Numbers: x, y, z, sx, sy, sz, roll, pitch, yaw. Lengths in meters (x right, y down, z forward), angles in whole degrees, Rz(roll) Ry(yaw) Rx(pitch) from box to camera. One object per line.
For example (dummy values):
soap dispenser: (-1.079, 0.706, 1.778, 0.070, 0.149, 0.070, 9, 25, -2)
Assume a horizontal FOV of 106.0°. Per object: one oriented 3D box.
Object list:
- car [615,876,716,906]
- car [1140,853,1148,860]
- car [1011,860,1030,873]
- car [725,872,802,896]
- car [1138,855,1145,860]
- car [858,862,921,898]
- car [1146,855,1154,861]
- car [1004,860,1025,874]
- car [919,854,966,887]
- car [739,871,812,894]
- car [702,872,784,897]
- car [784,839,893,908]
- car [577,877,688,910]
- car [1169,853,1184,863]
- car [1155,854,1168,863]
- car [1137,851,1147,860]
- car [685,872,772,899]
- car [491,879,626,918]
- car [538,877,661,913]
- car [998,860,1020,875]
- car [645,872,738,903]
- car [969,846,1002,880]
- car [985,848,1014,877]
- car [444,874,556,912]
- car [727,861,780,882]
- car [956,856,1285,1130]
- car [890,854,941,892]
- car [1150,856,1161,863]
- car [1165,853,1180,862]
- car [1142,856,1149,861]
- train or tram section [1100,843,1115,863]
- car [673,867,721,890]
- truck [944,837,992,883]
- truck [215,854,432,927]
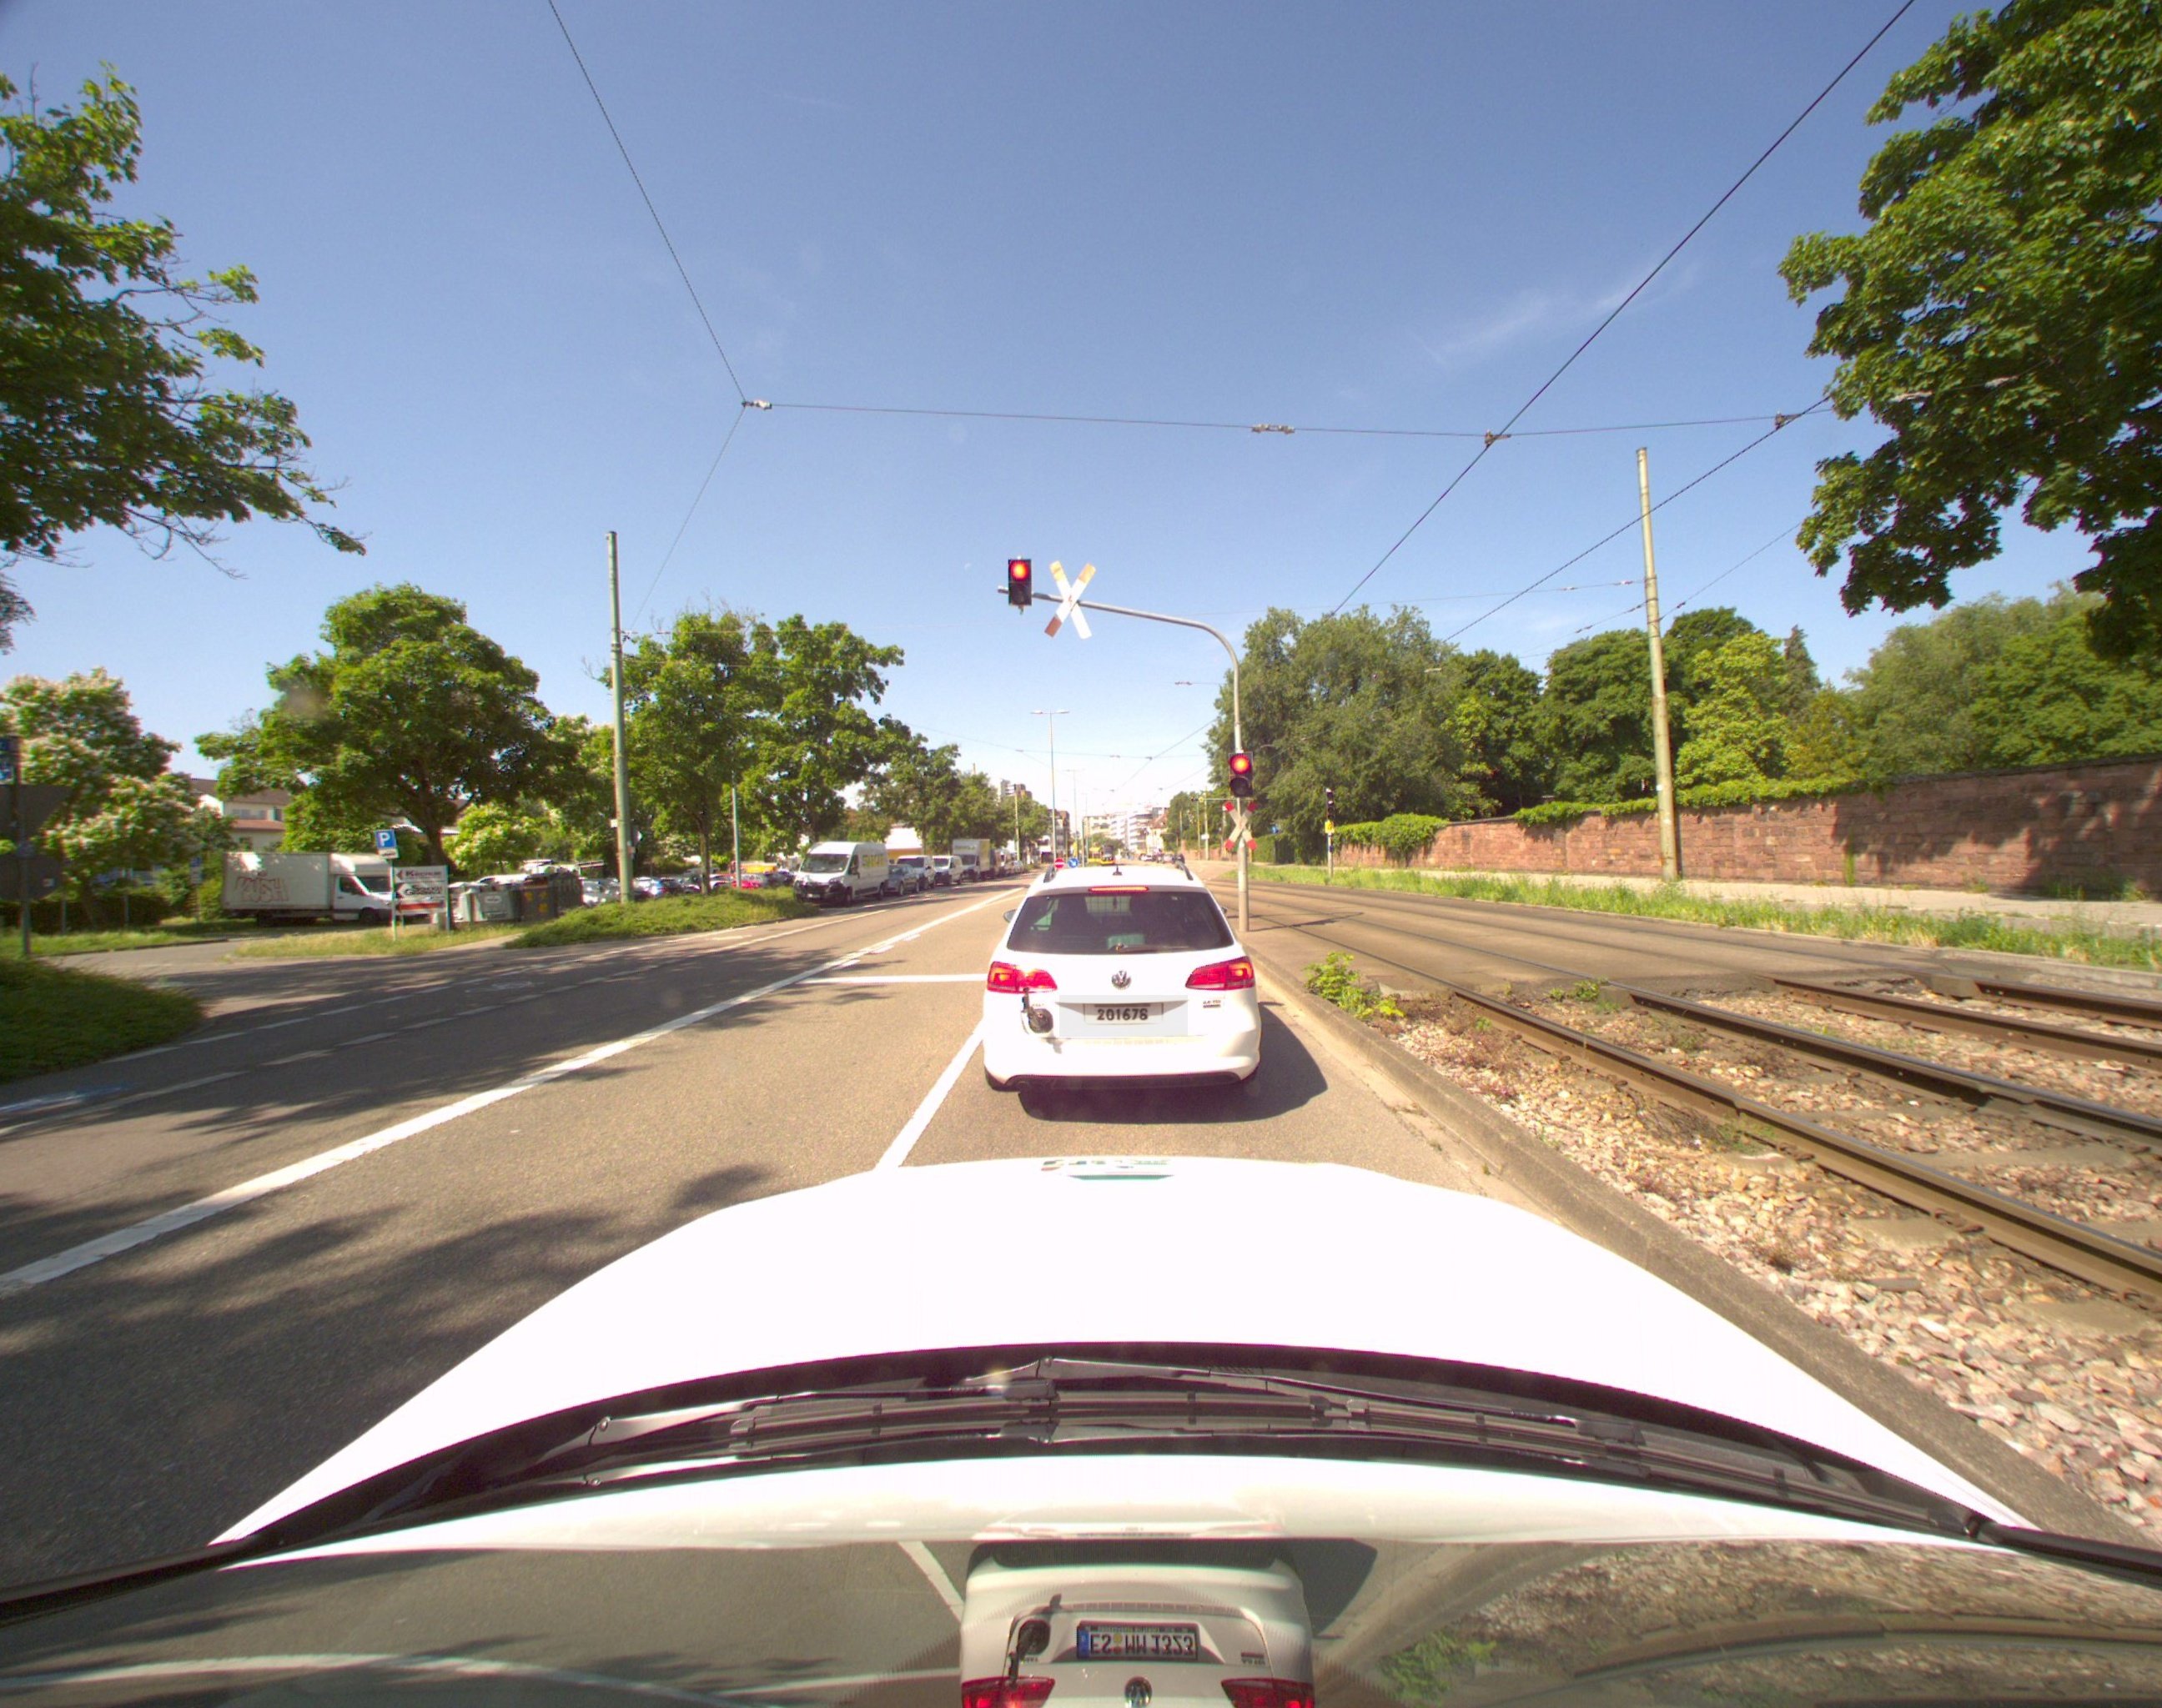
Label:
car: (-20.291, 1.798, 39.835, 3.969, 1.225, 1.773, -3, 0, 4)
car: (16.468, 0.741, 213.123, 1.685, 1.812, 3.455, 0, -1, 1)
car: (-7.143, 1.475, 96.942, 1.774, 1.433, 4.039, -3, 0, 2)
car: (-19.525, 1.818, 50.113, 3.969, 1.225, 1.773, -3, 0, 4)
car: (18.682, 1.159, 251.164, 1.986, 1.596, 4.002, 0, -1, 2)
car: (-9.082, 1.194, 39.034, 1.837, 1.516, 4.199, -3, 0, 2)
car: (15.291, 0.903, 181.169, 1.576, 1.346, 3.455, 0, -1, 1)
car: (-7.451, 1.446, 90.993, 1.837, 1.433, 4.039, -3, 0, 2)
car: (-8.843, 1.013, 52.310, 1.836, 1.960, 5.137, -3, 0, 2)
car: (-19.651, 1.843, 52.441, 3.969, 1.225, 1.773, -3, 0, 4)
car: (-19.659, 1.780, 47.518, 3.969, 1.225, 1.773, -3, 0, 4)
car: (-9.569, 0.696, 32.850, 2.049, 2.501, 6.315, 0, 0, 4)
car: (-20.109, 1.747, 36.602, 3.969, 1.225, 1.773, -3, 0, 4)
car: (13.232, 0.540, 112.884, 1.739, 1.388, 3.914, -1, 0, 2)
car: (13.976, 0.728, 141.717, 1.855, 1.513, 3.913, 0, 0, 0)
car: (17.436, 0.519, 234.025, 2.454, 2.499, 5.912, 0, -1, 1)
car: (-19.424, 1.726, 44.916, 3.969, 1.264, 1.773, -3, 0, 4)
car: (-20.010, 1.694, 31.297, 3.974, 1.225, 1.771, -3, 0, 0)
car: (-19.914, 1.696, 33.778, 3.974, 1.225, 1.771, -3, 0, 0)
car: (-7.538, 1.419, 85.800, 1.837, 1.433, 4.039, -3, 0, 2)
car: (-20.301, 1.725, 42.518, 3.969, 1.350, 1.773, -3, 0, 4)
car: (-7.967, 0.749, 68.506, 1.836, 2.668, 5.006, -3, 0, 2)
car: (-7.562, 0.761, 76.154, 1.836, 2.494, 5.860, -3, 0, 2)
car: (-32.188, 2.129, 45.216, 4.683, 2.014, 1.997, 0, -1, -4)
car: (-31.300, 1.683, 77.928, 4.249, 2.014, 1.997, 0, -1, -5)
car: (0.248, 0.756, 6.337, 1.762, 1.446, 3.913, 0, 0, 1)
car: (-9.216, 1.026, 45.755, 1.839, 1.937, 5.189, -3, 0, -2)
car: (14.552, 1.084, 158.803, 1.740, 1.407, 3.911, 0, 0, -1)
car: (14.076, 0.532, 125.837, 1.855, 1.416, 4.325, 0, 0, 0)
car: (15.887, 1.130, 199.990, 1.576, 1.346, 3.455, 0, -1, 1)
train or tram section: (4.426, -0.138, 135.842, 2.292, 3.253, 11.279, 0, -1, 2)
car: (-34.366, 2.174, 72.905, 3.412, 1.876, 1.552, -3, 0, -1)
truck: (-8.335, 0.406, 60.699, 2.348, 3.122, 6.892, -3, 0, 1)
truck: (-32.447, 1.532, 35.047, 7.119, 3.019, 2.231, 0, 0, -1)
